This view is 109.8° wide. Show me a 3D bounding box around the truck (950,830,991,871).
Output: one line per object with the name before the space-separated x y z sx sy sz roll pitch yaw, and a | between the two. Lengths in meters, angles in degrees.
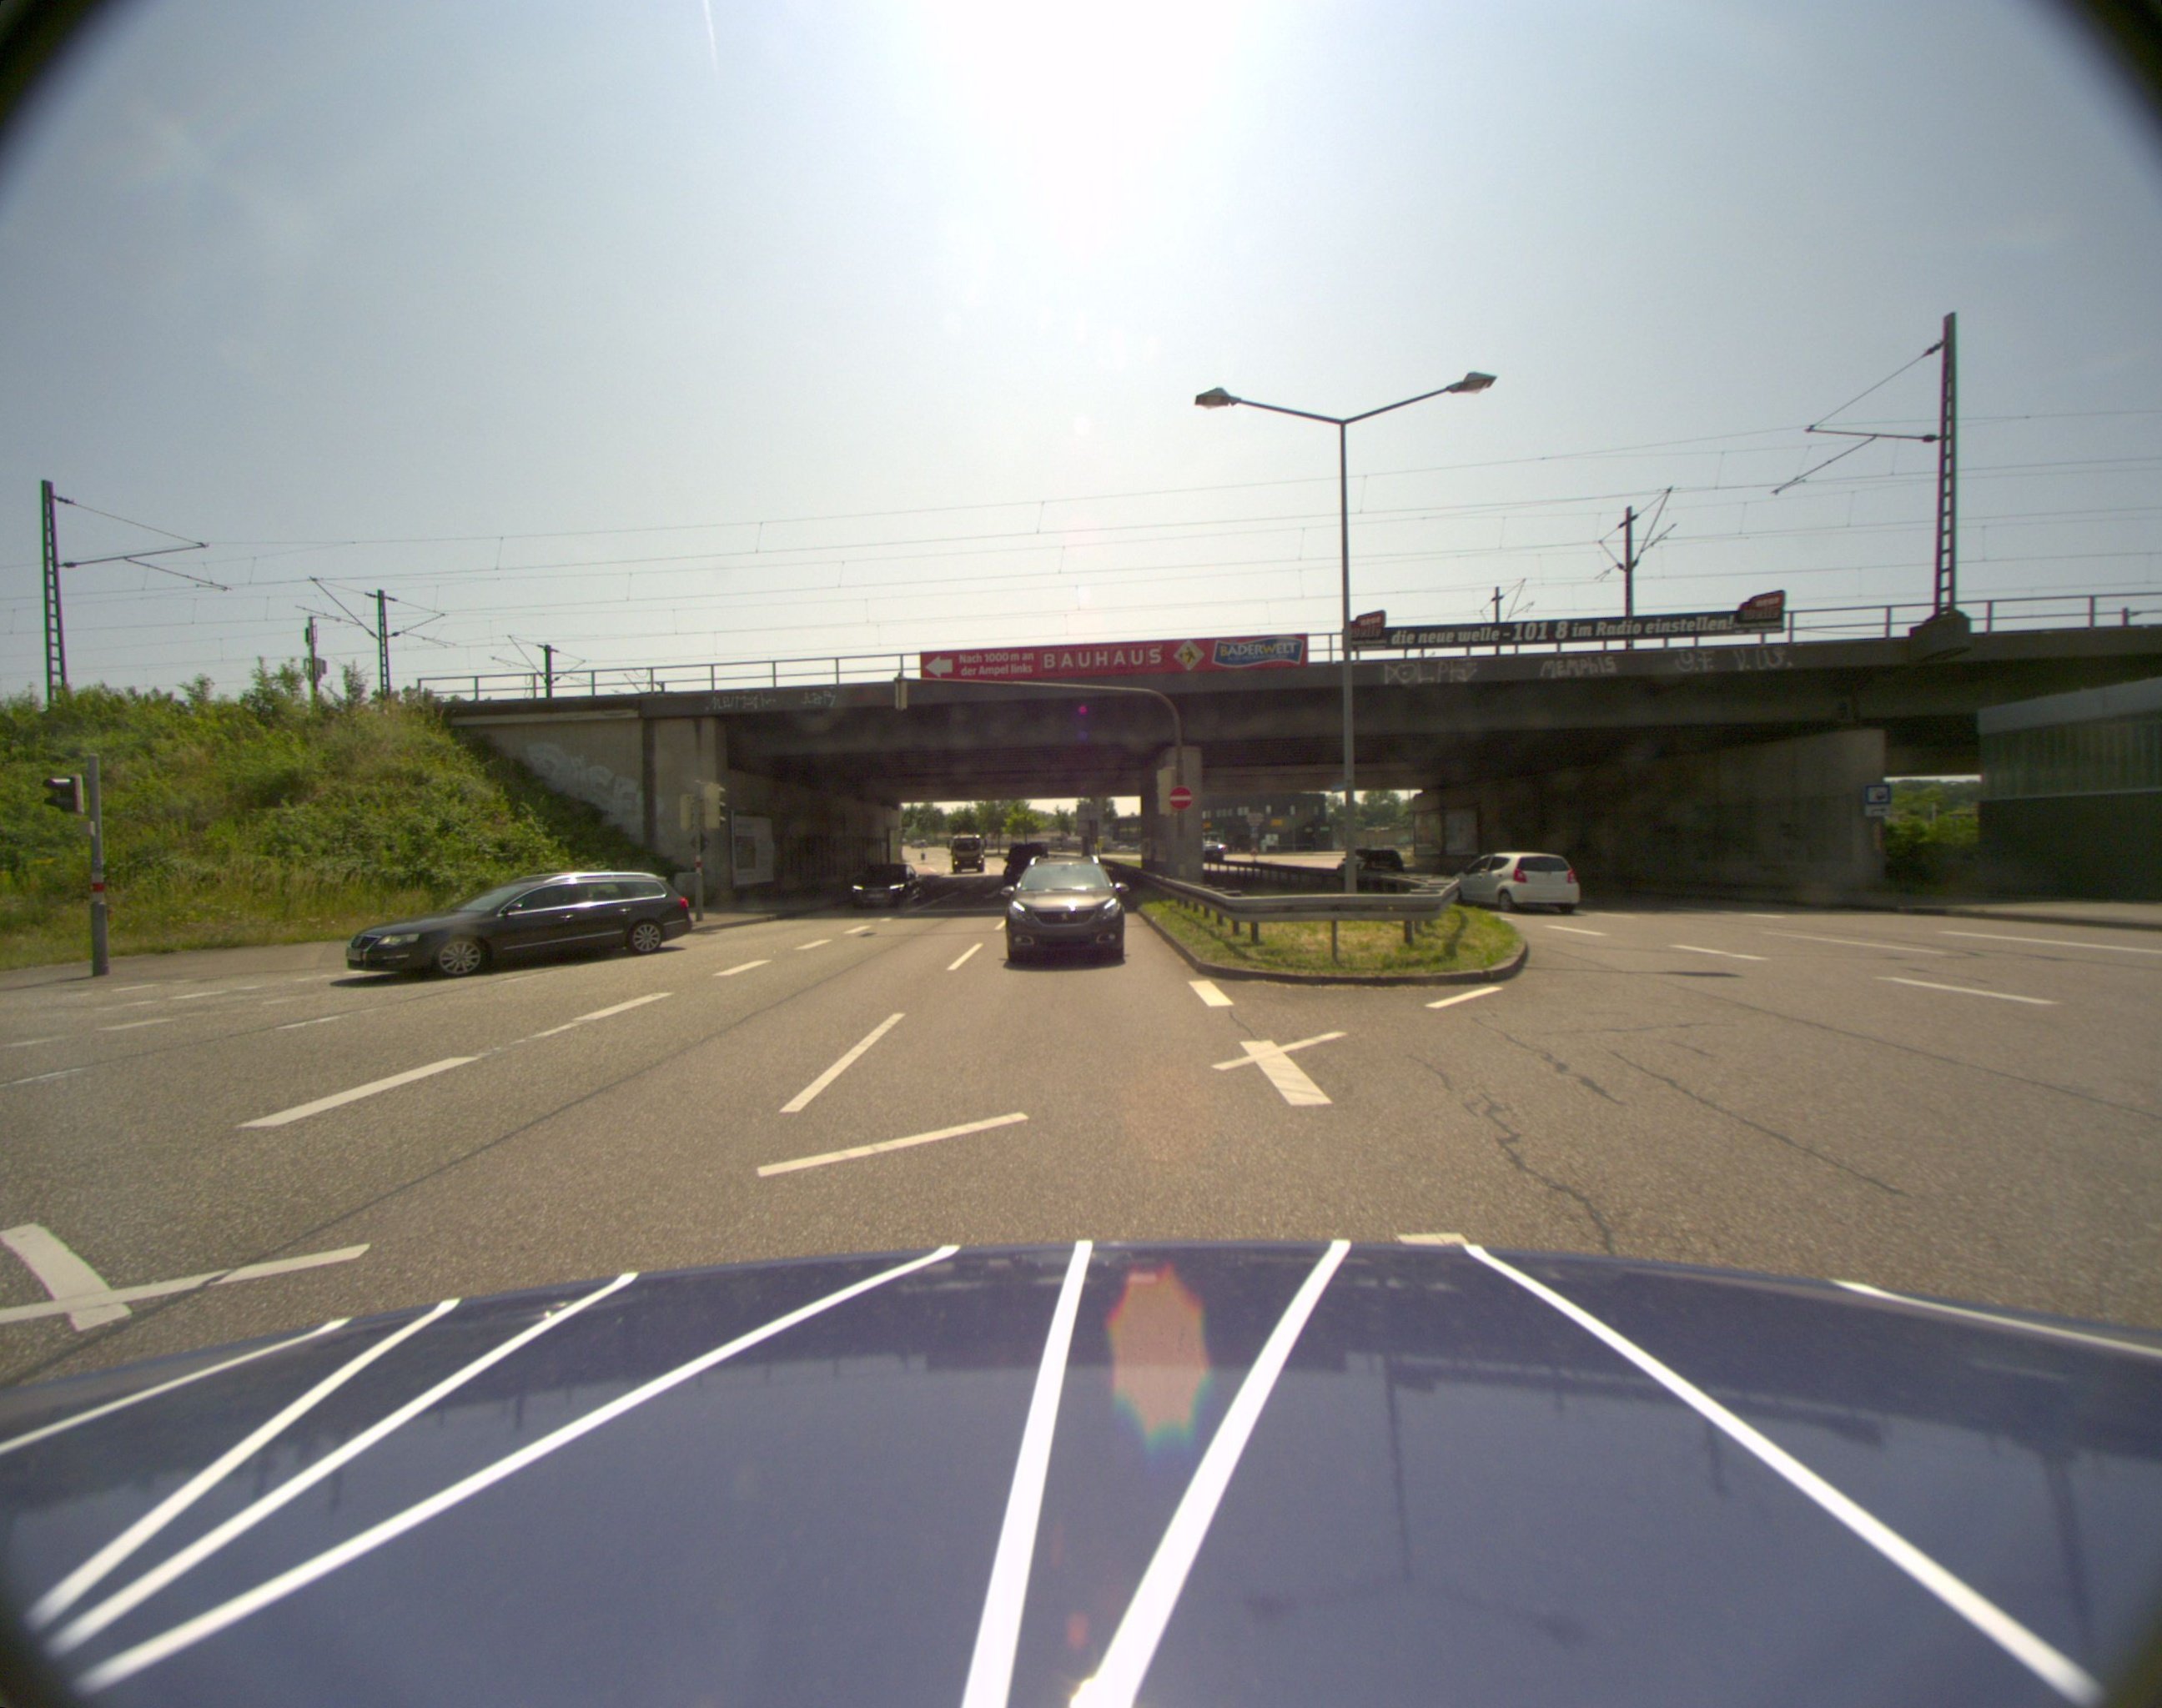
truck | -8.746 -0.241 60.256 2.887 2.899 8.510 -3 0 -8

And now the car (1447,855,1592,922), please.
car | 10.849 0.794 19.084 1.710 1.442 3.373 -1 1 1

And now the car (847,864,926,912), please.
car | -6.482 1.089 25.774 1.809 1.382 3.902 -1 0 -3

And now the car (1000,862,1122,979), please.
car | -0.181 0.930 12.486 1.619 1.503 4.458 -1 0 2

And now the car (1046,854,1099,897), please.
car | -0.321 0.746 28.490 1.817 1.456 3.999 -1 1 -1

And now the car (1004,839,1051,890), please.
car | -2.419 0.429 35.272 1.841 2.141 4.557 -2 1 0

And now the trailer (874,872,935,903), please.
trailer | -6.771 1.270 29.520 1.681 0.936 3.831 -3 1 -4

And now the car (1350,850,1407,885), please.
car | 13.759 0.586 35.293 1.709 1.535 3.375 0 1 8

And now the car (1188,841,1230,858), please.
car | 13.348 -0.501 79.102 3.992 1.674 2.002 -1 1 17

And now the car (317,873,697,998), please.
car | -9.184 1.169 12.683 1.805 1.494 4.682 -1 0 30
